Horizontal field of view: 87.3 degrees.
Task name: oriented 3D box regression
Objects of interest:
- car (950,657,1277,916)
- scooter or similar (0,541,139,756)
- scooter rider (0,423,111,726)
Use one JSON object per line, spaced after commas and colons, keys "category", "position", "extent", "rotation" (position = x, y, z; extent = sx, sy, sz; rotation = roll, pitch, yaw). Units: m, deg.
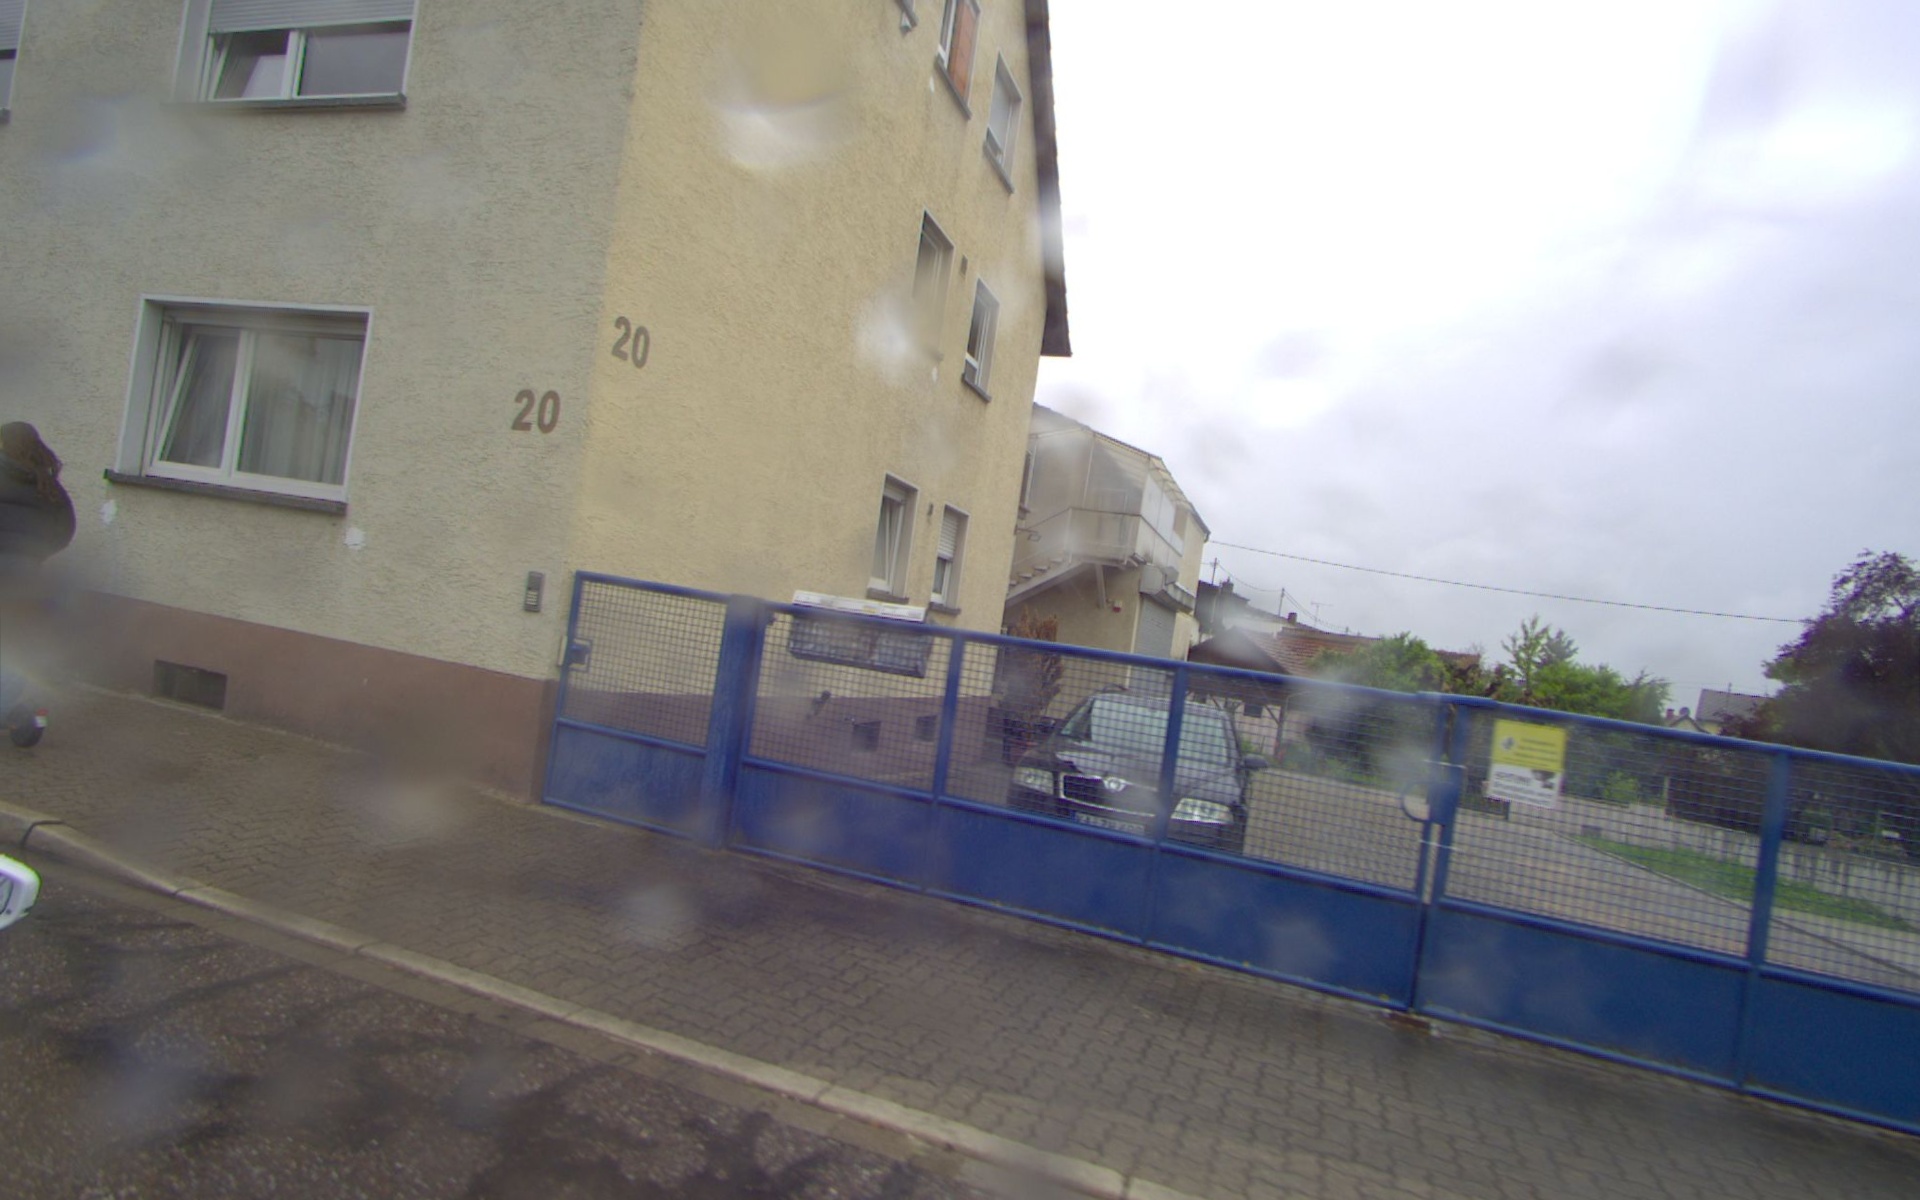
{"category": "car", "position": [1.555, 1.435, 8.384], "extent": [1.876, 1.314, 4.169], "rotation": [7, -5, 19]}
{"category": "scooter or similar", "position": [-5.753, 0.231, 5.965], "extent": [1.375, 1.140, 0.623], "rotation": [7, -2, 19]}
{"category": "scooter rider", "position": [-5.785, -0.158, 6.020], "extent": [0.508, 1.753, 0.734], "rotation": [7, -2, 18]}
